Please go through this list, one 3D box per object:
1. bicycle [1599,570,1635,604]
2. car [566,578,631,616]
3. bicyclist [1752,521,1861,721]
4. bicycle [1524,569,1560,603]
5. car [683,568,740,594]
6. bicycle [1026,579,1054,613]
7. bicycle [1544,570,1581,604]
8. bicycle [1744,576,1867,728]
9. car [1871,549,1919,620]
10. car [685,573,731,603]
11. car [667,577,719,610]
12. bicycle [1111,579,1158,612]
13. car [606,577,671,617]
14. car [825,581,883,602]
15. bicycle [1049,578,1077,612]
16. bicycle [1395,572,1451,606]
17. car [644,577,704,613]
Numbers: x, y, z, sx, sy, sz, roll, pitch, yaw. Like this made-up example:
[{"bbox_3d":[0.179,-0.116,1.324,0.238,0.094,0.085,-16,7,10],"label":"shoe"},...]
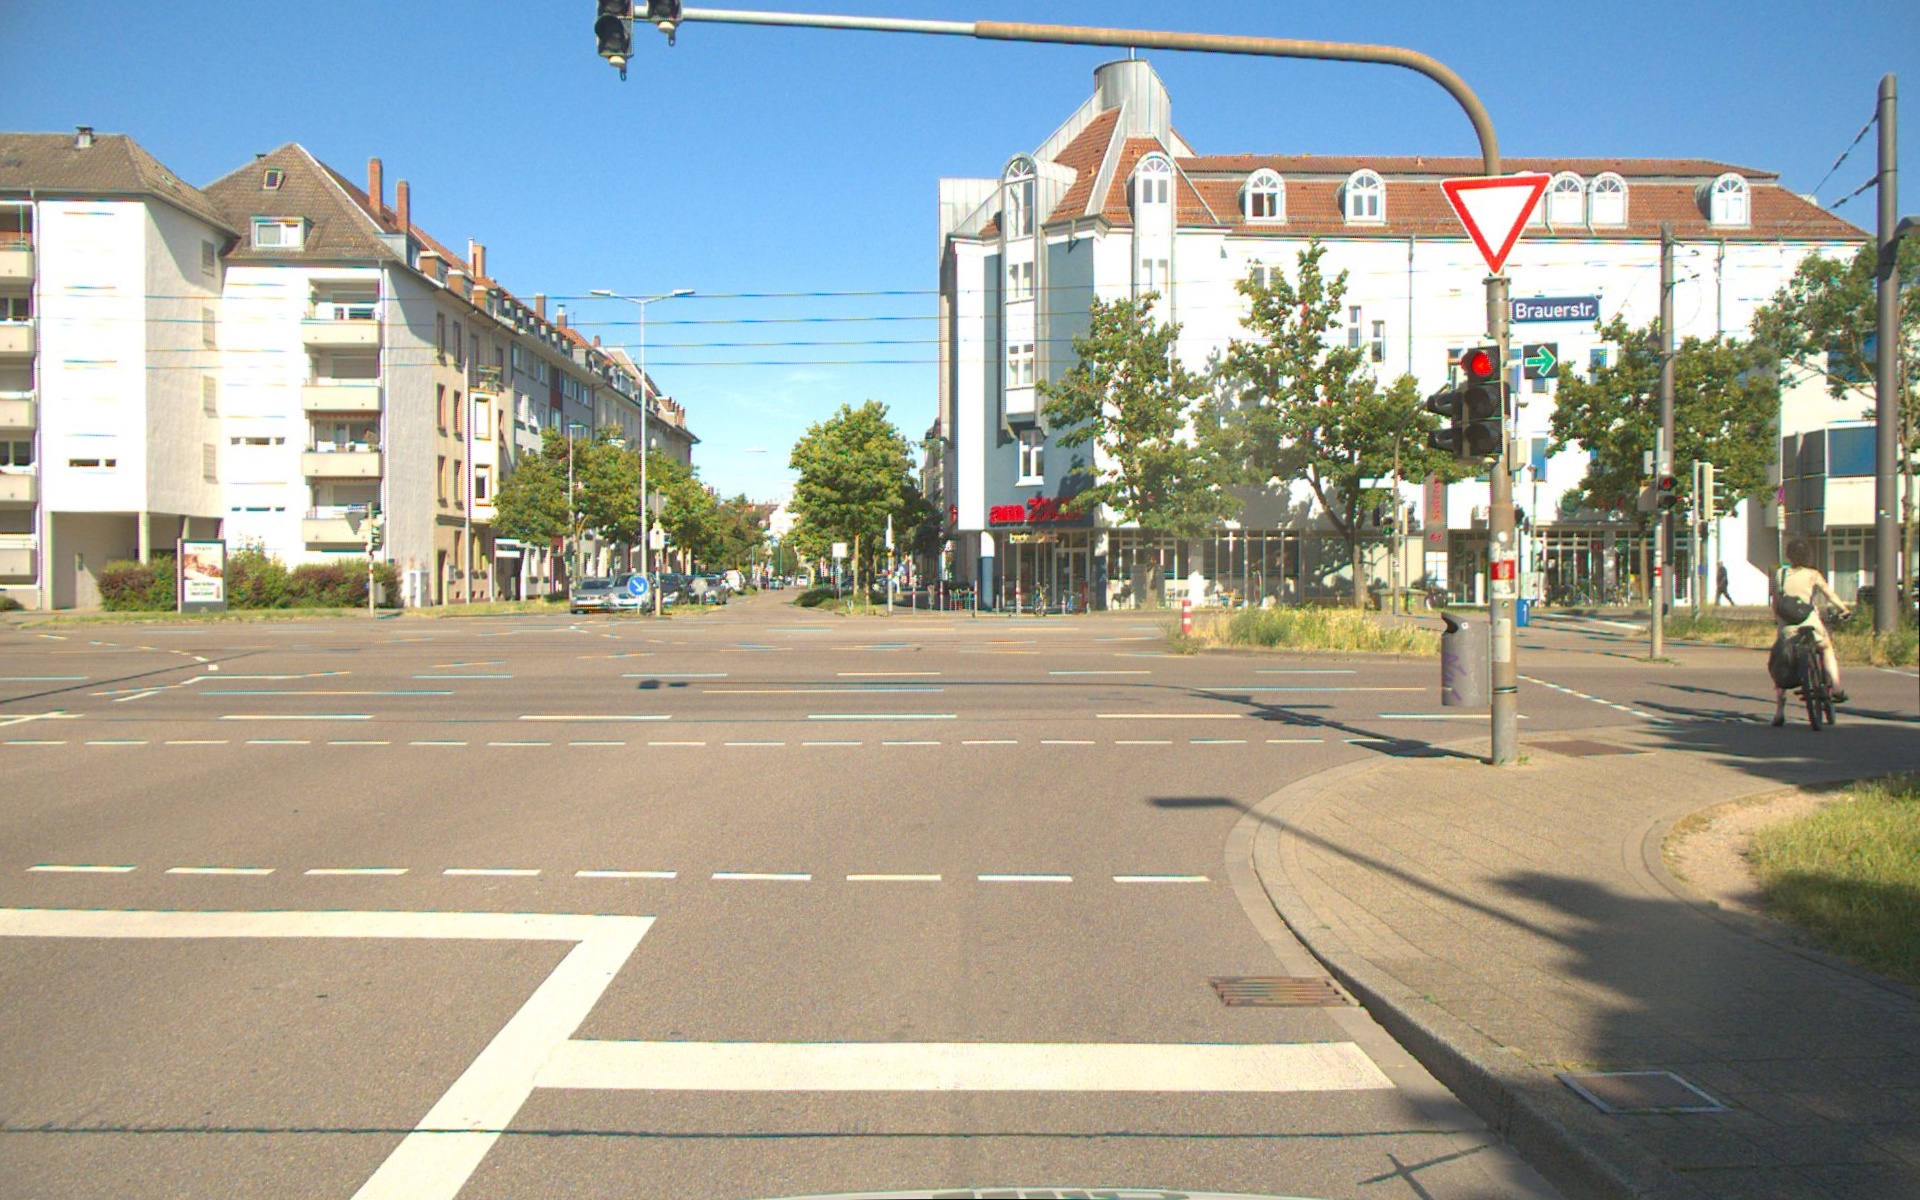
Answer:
[{"bbox_3d":[23.818,-0.469,59.992,0.549,1.203,1.870,-1,1,-1],"label":"bicycle"},{"bbox_3d":[-15.023,-0.143,68.923,1.653,1.457,4.400,2,0,0],"label":"car"},{"bbox_3d":[8.196,0.187,16.003,0.777,1.856,1.131,0,1,35],"label":"bicyclist"},{"bbox_3d":[21.098,-0.515,59.993,0.549,1.203,1.868,-1,1,-3],"label":"bicycle"},{"bbox_3d":[-20.240,-1.524,134.985,4.417,2.049,1.998,0,0,-5],"label":"car"},{"bbox_3d":[2.499,-0.138,51.662,0.463,1.045,1.511,-1,1,-13],"label":"bicycle"},{"bbox_3d":[21.969,-0.492,60.337,0.549,1.203,1.868,-1,1,-3],"label":"bicycle"},{"bbox_3d":[8.279,0.462,16.142,0.777,1.371,2.071,0,1,35],"label":"bicycle"},{"bbox_3d":[24.446,-0.393,39.352,4.405,1.637,2.002,0,1,7],"label":"car"},{"bbox_3d":[-13.326,-0.635,87.691,1.653,1.457,4.400,2,0,0],"label":"car"},{"bbox_3d":[-12.669,-0.330,78.678,1.653,1.457,4.400,2,0,0],"label":"car"},{"bbox_3d":[5.699,-0.142,54.045,1.479,1.045,0.473,-1,1,8],"label":"bicycle"},{"bbox_3d":[-12.769,-0.129,65.858,1.653,1.457,4.400,2,0,0],"label":"car"},{"bbox_3d":[-6.712,-0.525,104.506,3.503,1.244,1.726,0,0,-11],"label":"car"},{"bbox_3d":[3.239,-0.160,52.211,0.463,1.045,1.511,-1,1,-14],"label":"bicycle"},{"bbox_3d":[16.419,-0.388,58.642,1.828,1.203,0.561,-1,1,-7],"label":"bicycle"},{"bbox_3d":[-12.461,-0.224,72.347,1.653,1.457,4.401,2,0,2],"label":"car"}]
